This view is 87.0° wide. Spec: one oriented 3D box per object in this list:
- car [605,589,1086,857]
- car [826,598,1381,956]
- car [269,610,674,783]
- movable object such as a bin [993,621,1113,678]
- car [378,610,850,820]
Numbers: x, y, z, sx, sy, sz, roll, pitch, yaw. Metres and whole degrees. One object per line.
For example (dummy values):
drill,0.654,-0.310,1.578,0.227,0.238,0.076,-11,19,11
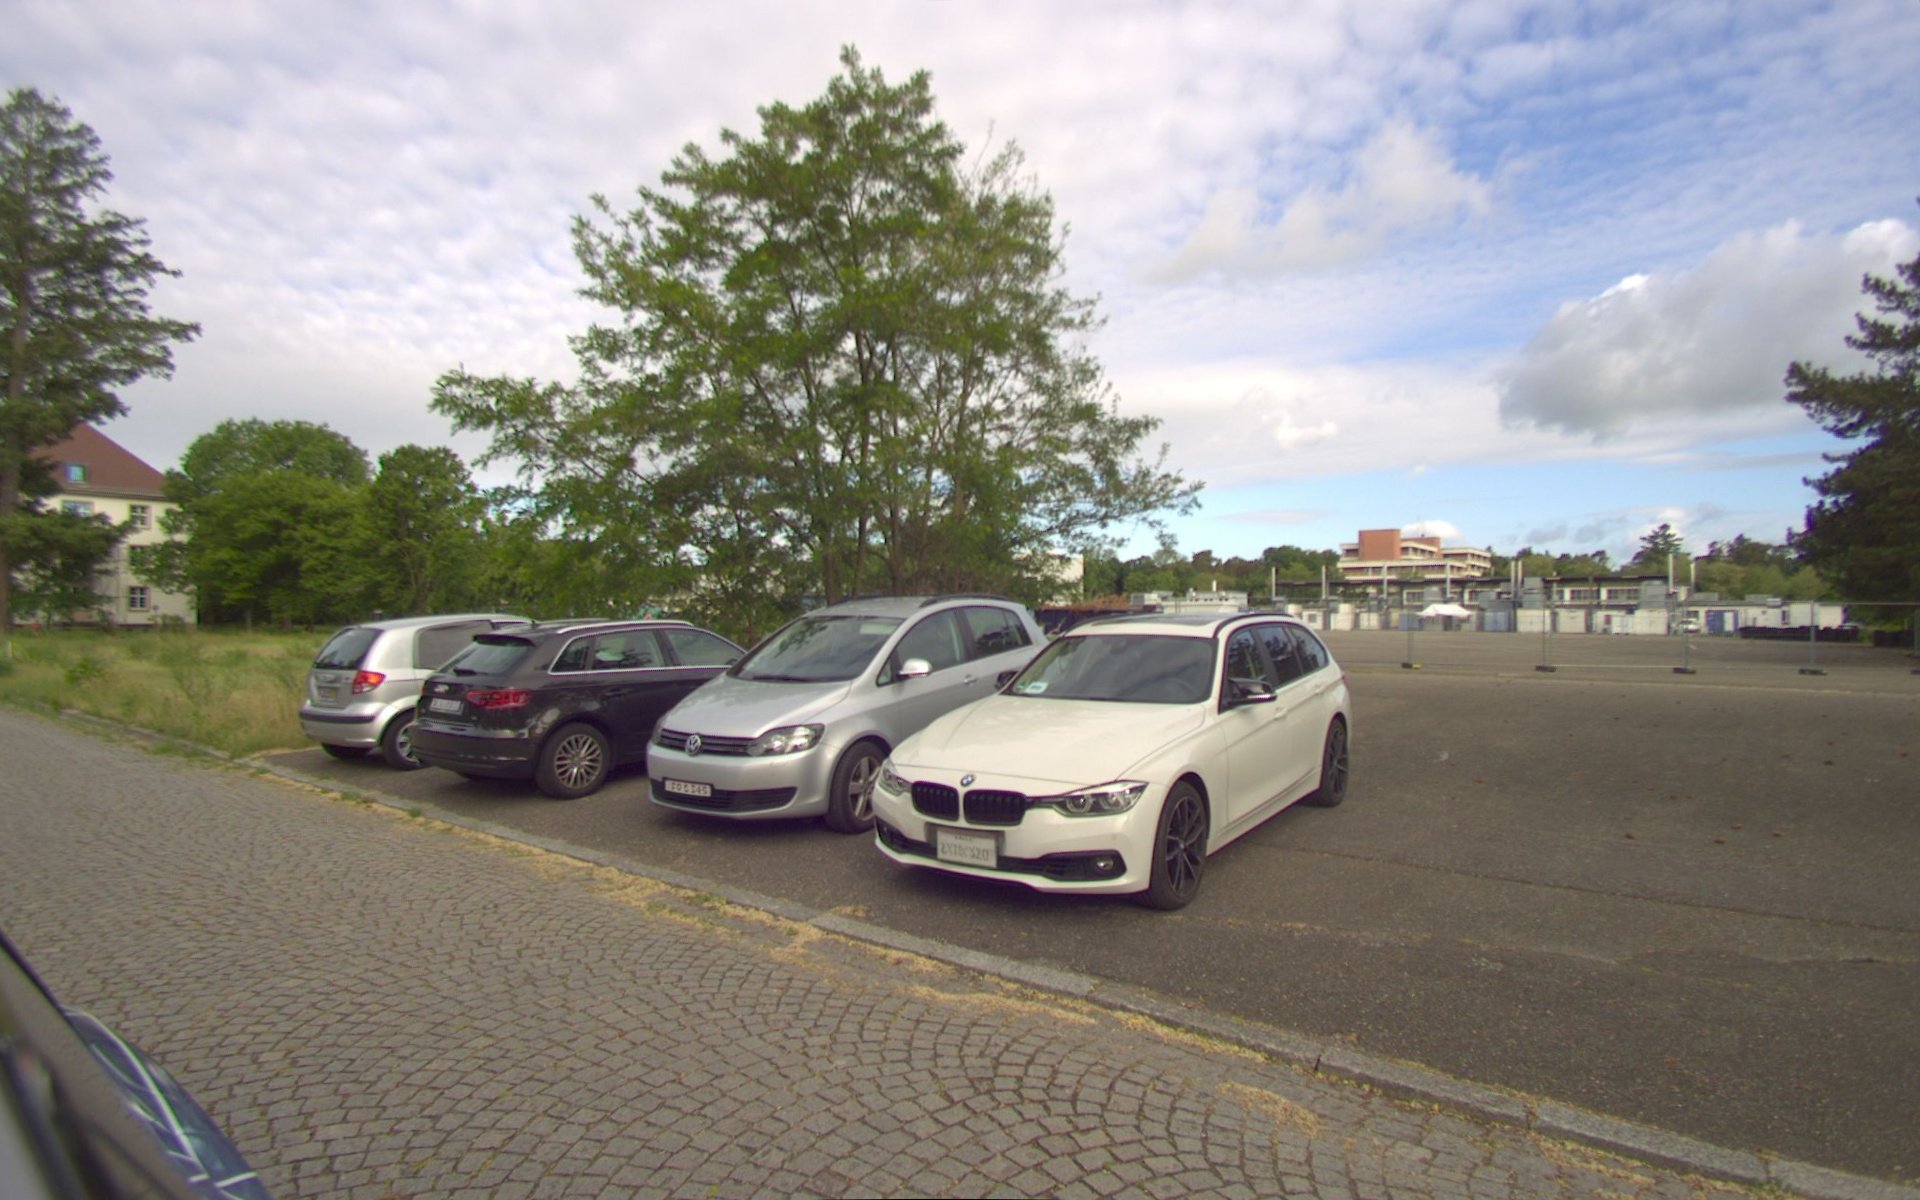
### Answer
car,-0.662,0.738,8.248,1.720,1.559,3.954,-1,1,34
car,1.342,0.778,6.815,1.798,1.454,4.607,-1,1,35
car,-5.261,0.911,11.312,1.804,1.463,3.647,-1,1,34
movable object such as a bin,2.069,1.050,22.278,1.501,1.170,2.364,-1,-2,44
car,-3.062,0.883,9.663,1.748,1.438,3.949,-1,1,38
